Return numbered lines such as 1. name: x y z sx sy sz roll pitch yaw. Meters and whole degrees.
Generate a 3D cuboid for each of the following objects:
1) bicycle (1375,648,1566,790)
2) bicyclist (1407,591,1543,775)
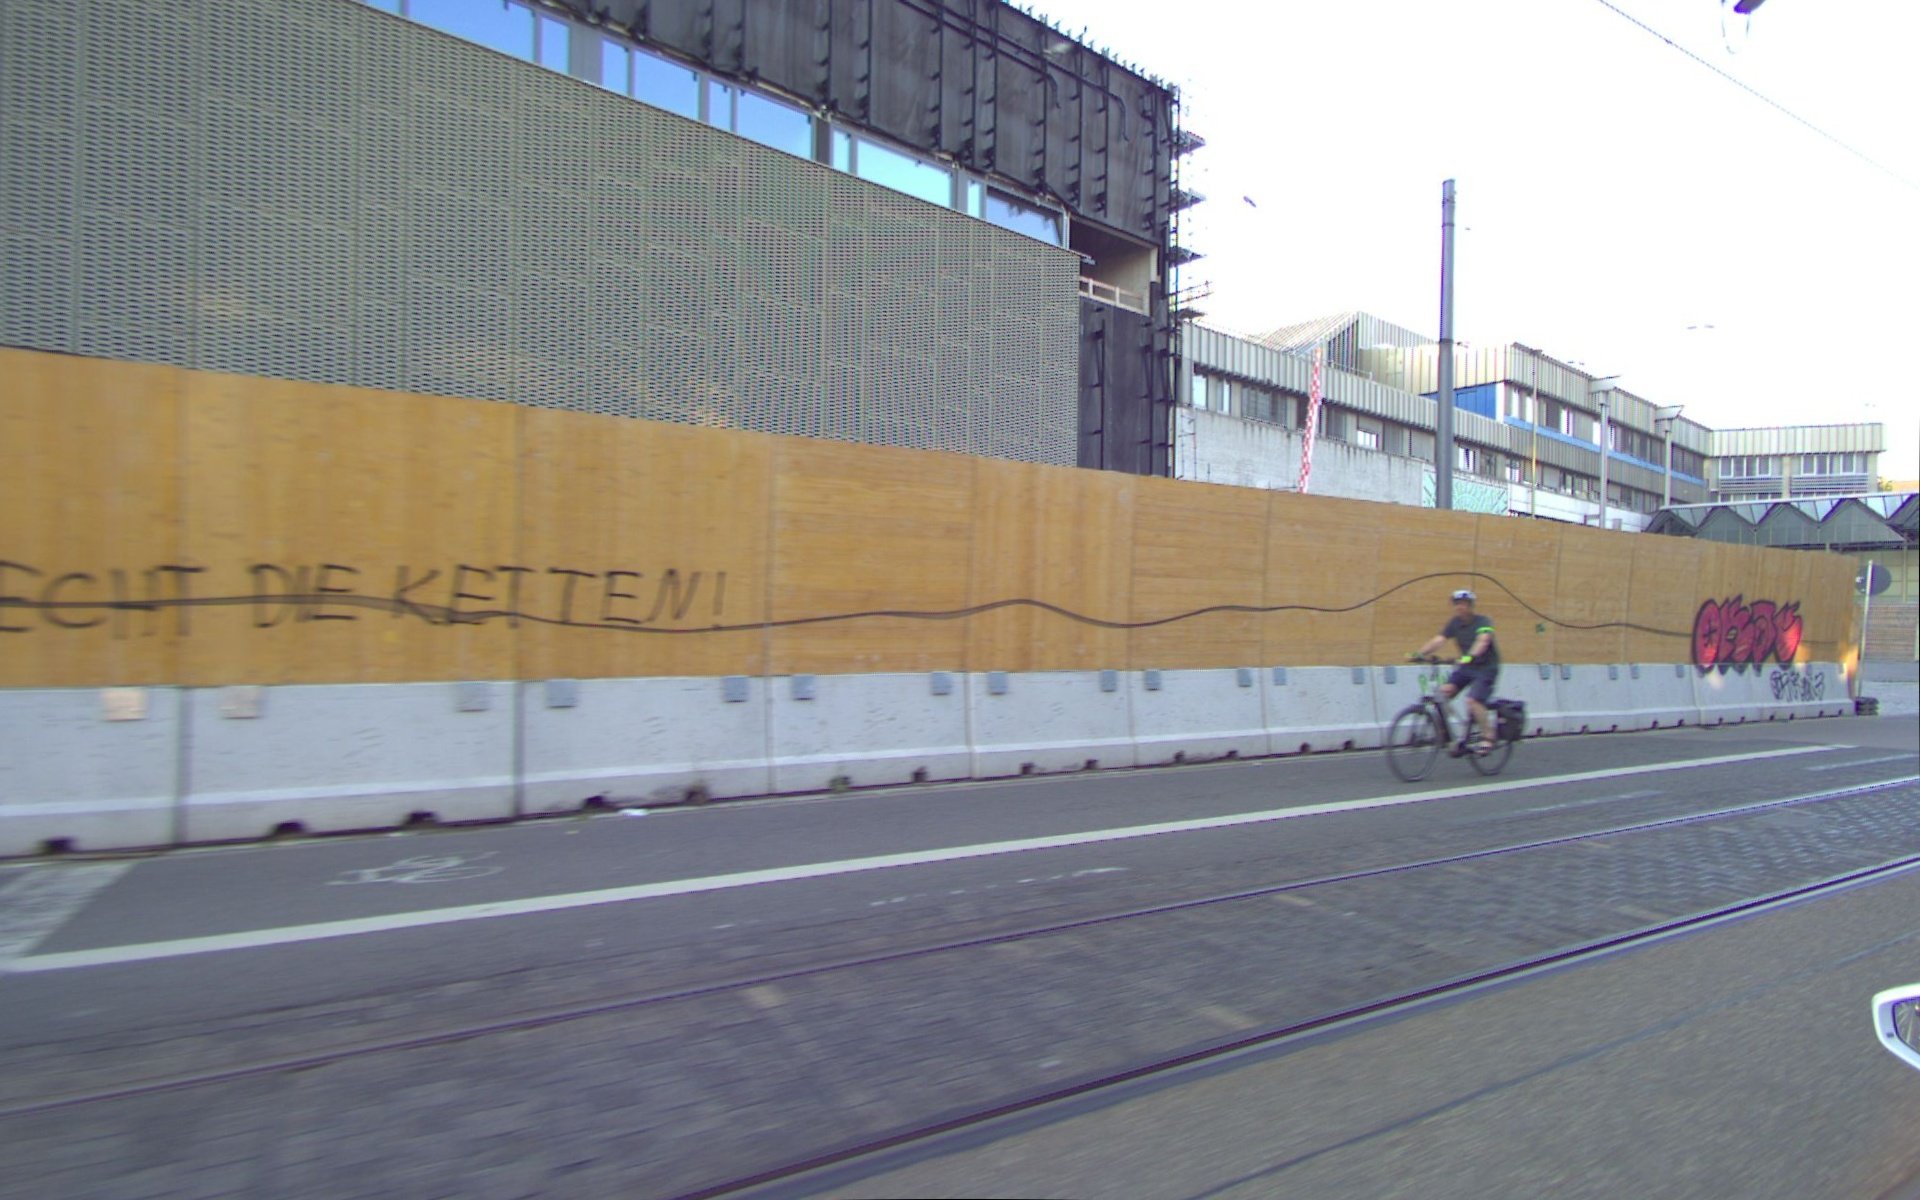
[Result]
1. bicycle: 5.009 1.108 9.826 1.913 1.244 0.764 1 -1 -30
2. bicyclist: 5.039 0.779 9.845 1.006 1.687 0.764 1 -1 -30
